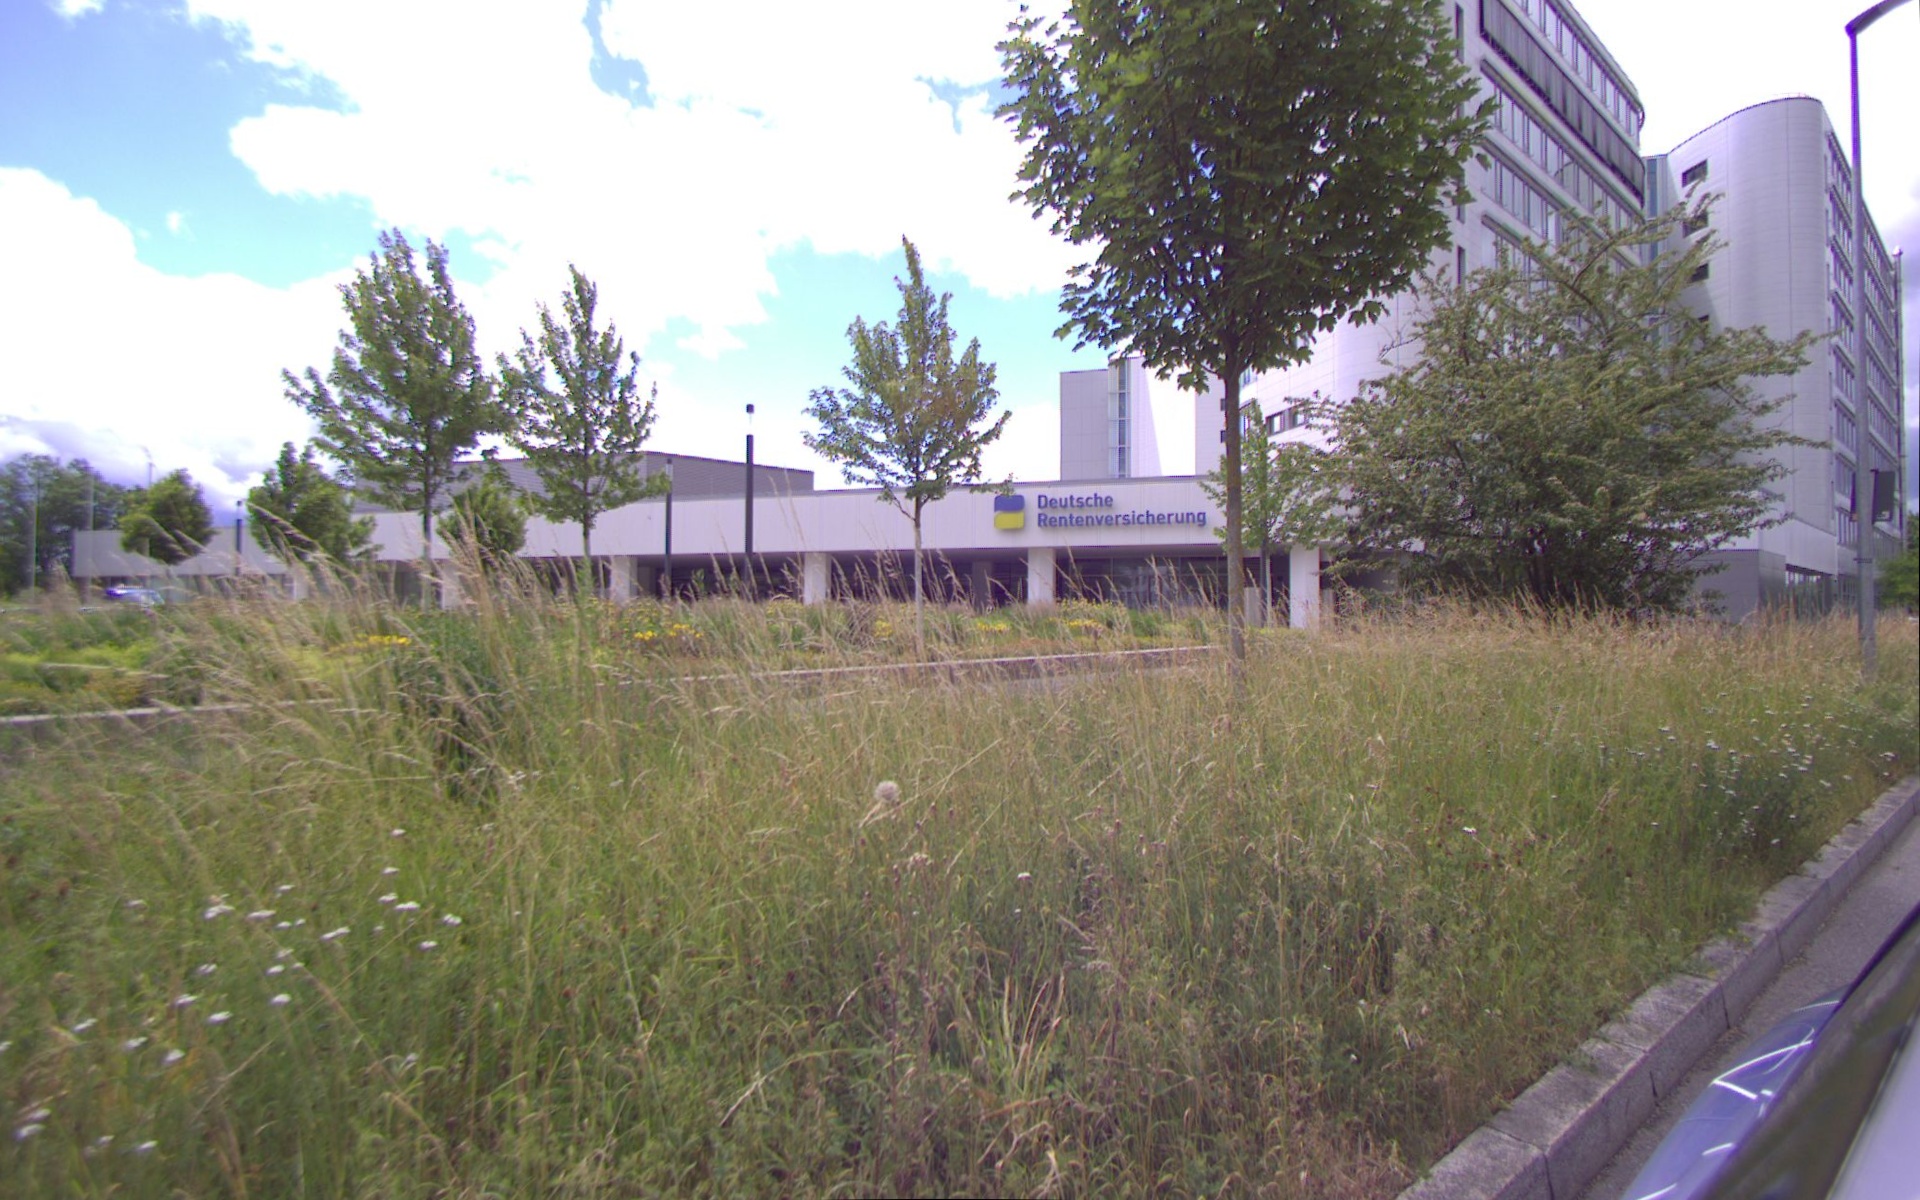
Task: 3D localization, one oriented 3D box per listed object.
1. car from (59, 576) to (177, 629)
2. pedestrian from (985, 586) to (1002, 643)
[{"bbox_3d":[-41.291,0.109,49.657,4.728,2.505,2.435,0,-1,20],"label":"car"},{"bbox_3d":[1.209,0.522,36.426,0.596,2.039,0.695,0,0,1],"label":"pedestrian"}]
